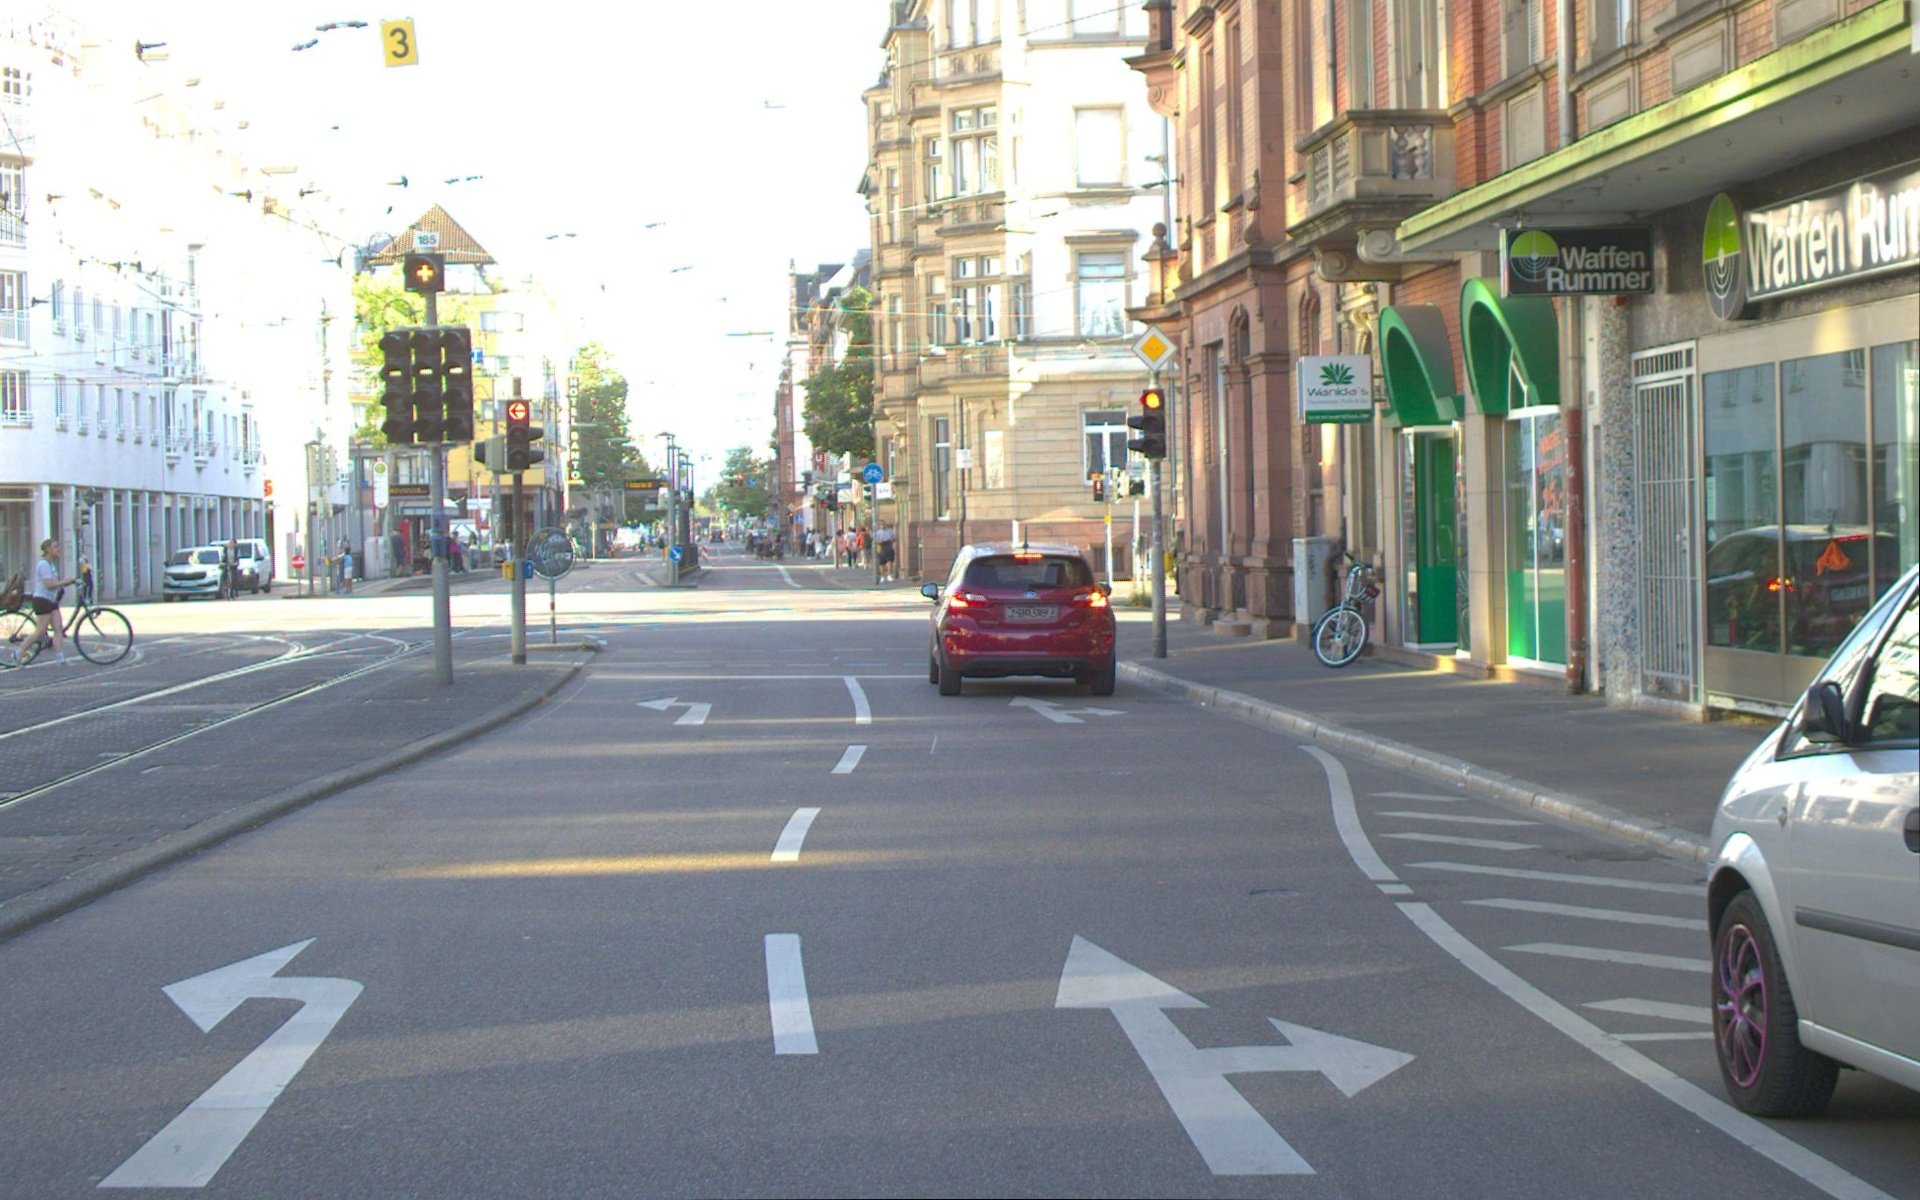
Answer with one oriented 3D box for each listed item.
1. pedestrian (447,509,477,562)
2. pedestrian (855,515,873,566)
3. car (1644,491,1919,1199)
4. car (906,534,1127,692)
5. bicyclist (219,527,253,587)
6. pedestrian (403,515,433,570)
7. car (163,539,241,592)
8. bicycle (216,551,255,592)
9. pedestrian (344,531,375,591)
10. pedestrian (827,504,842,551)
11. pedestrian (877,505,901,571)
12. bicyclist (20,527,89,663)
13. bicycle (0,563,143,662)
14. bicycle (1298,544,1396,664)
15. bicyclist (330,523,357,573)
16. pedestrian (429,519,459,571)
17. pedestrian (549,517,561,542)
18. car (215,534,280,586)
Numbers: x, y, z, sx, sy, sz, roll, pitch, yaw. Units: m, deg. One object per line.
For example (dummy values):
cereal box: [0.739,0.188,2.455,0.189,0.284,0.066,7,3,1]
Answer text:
pedestrian: [-18.978,-2.465,131.087,1.045,2.007,0.959,-2,1,-6]
pedestrian: [-3.779,-2.360,135.603,0.646,2.007,0.683,-1,1,-3]
car: [2.892,0.557,7.589,1.637,1.609,3.946,-1,1,-5]
car: [0.498,0.084,34.024,1.754,1.461,3.946,0,1,-5]
bicyclist: [-21.271,-1.271,101.008,0.807,1.720,0.794,-2,1,-3]
pedestrian: [-20.237,-2.141,128.282,0.956,2.007,1.049,-2,1,-3]
car: [-23.736,-1.095,107.758,1.765,1.540,3.461,-2,1,-3]
bicycle: [-21.254,-0.846,100.911,0.807,1.143,2.050,-2,1,-4]
pedestrian: [-17.608,-1.140,100.829,0.768,1.724,0.573,-1,1,-1]
pedestrian: [-5.427,-3.125,148.831,0.577,2.007,0.631,-1,1,3]
pedestrian: [-2.188,-1.908,105.492,0.651,2.007,0.760,-1,1,-4]
bicyclist: [-11.038,-0.067,41.919,0.729,1.621,0.766,-1,1,-11]
bicycle: [-11.118,0.155,42.315,2.017,1.173,0.628,-1,1,-11]
bicycle: [4.008,0.027,35.499,0.716,1.148,1.654,-3,1,15]
bicyclist: [-22.899,-1.935,127.758,0.807,1.815,0.993,-2,1,-3]
pedestrian: [-20.136,-2.164,134.226,1.045,2.007,0.959,-2,1,-6]
pedestrian: [-26.462,-4.625,224.626,0.628,1.598,0.579,-2,1,-20]
car: [-24.671,-1.403,119.083,1.701,1.712,3.565,-2,1,-4]
